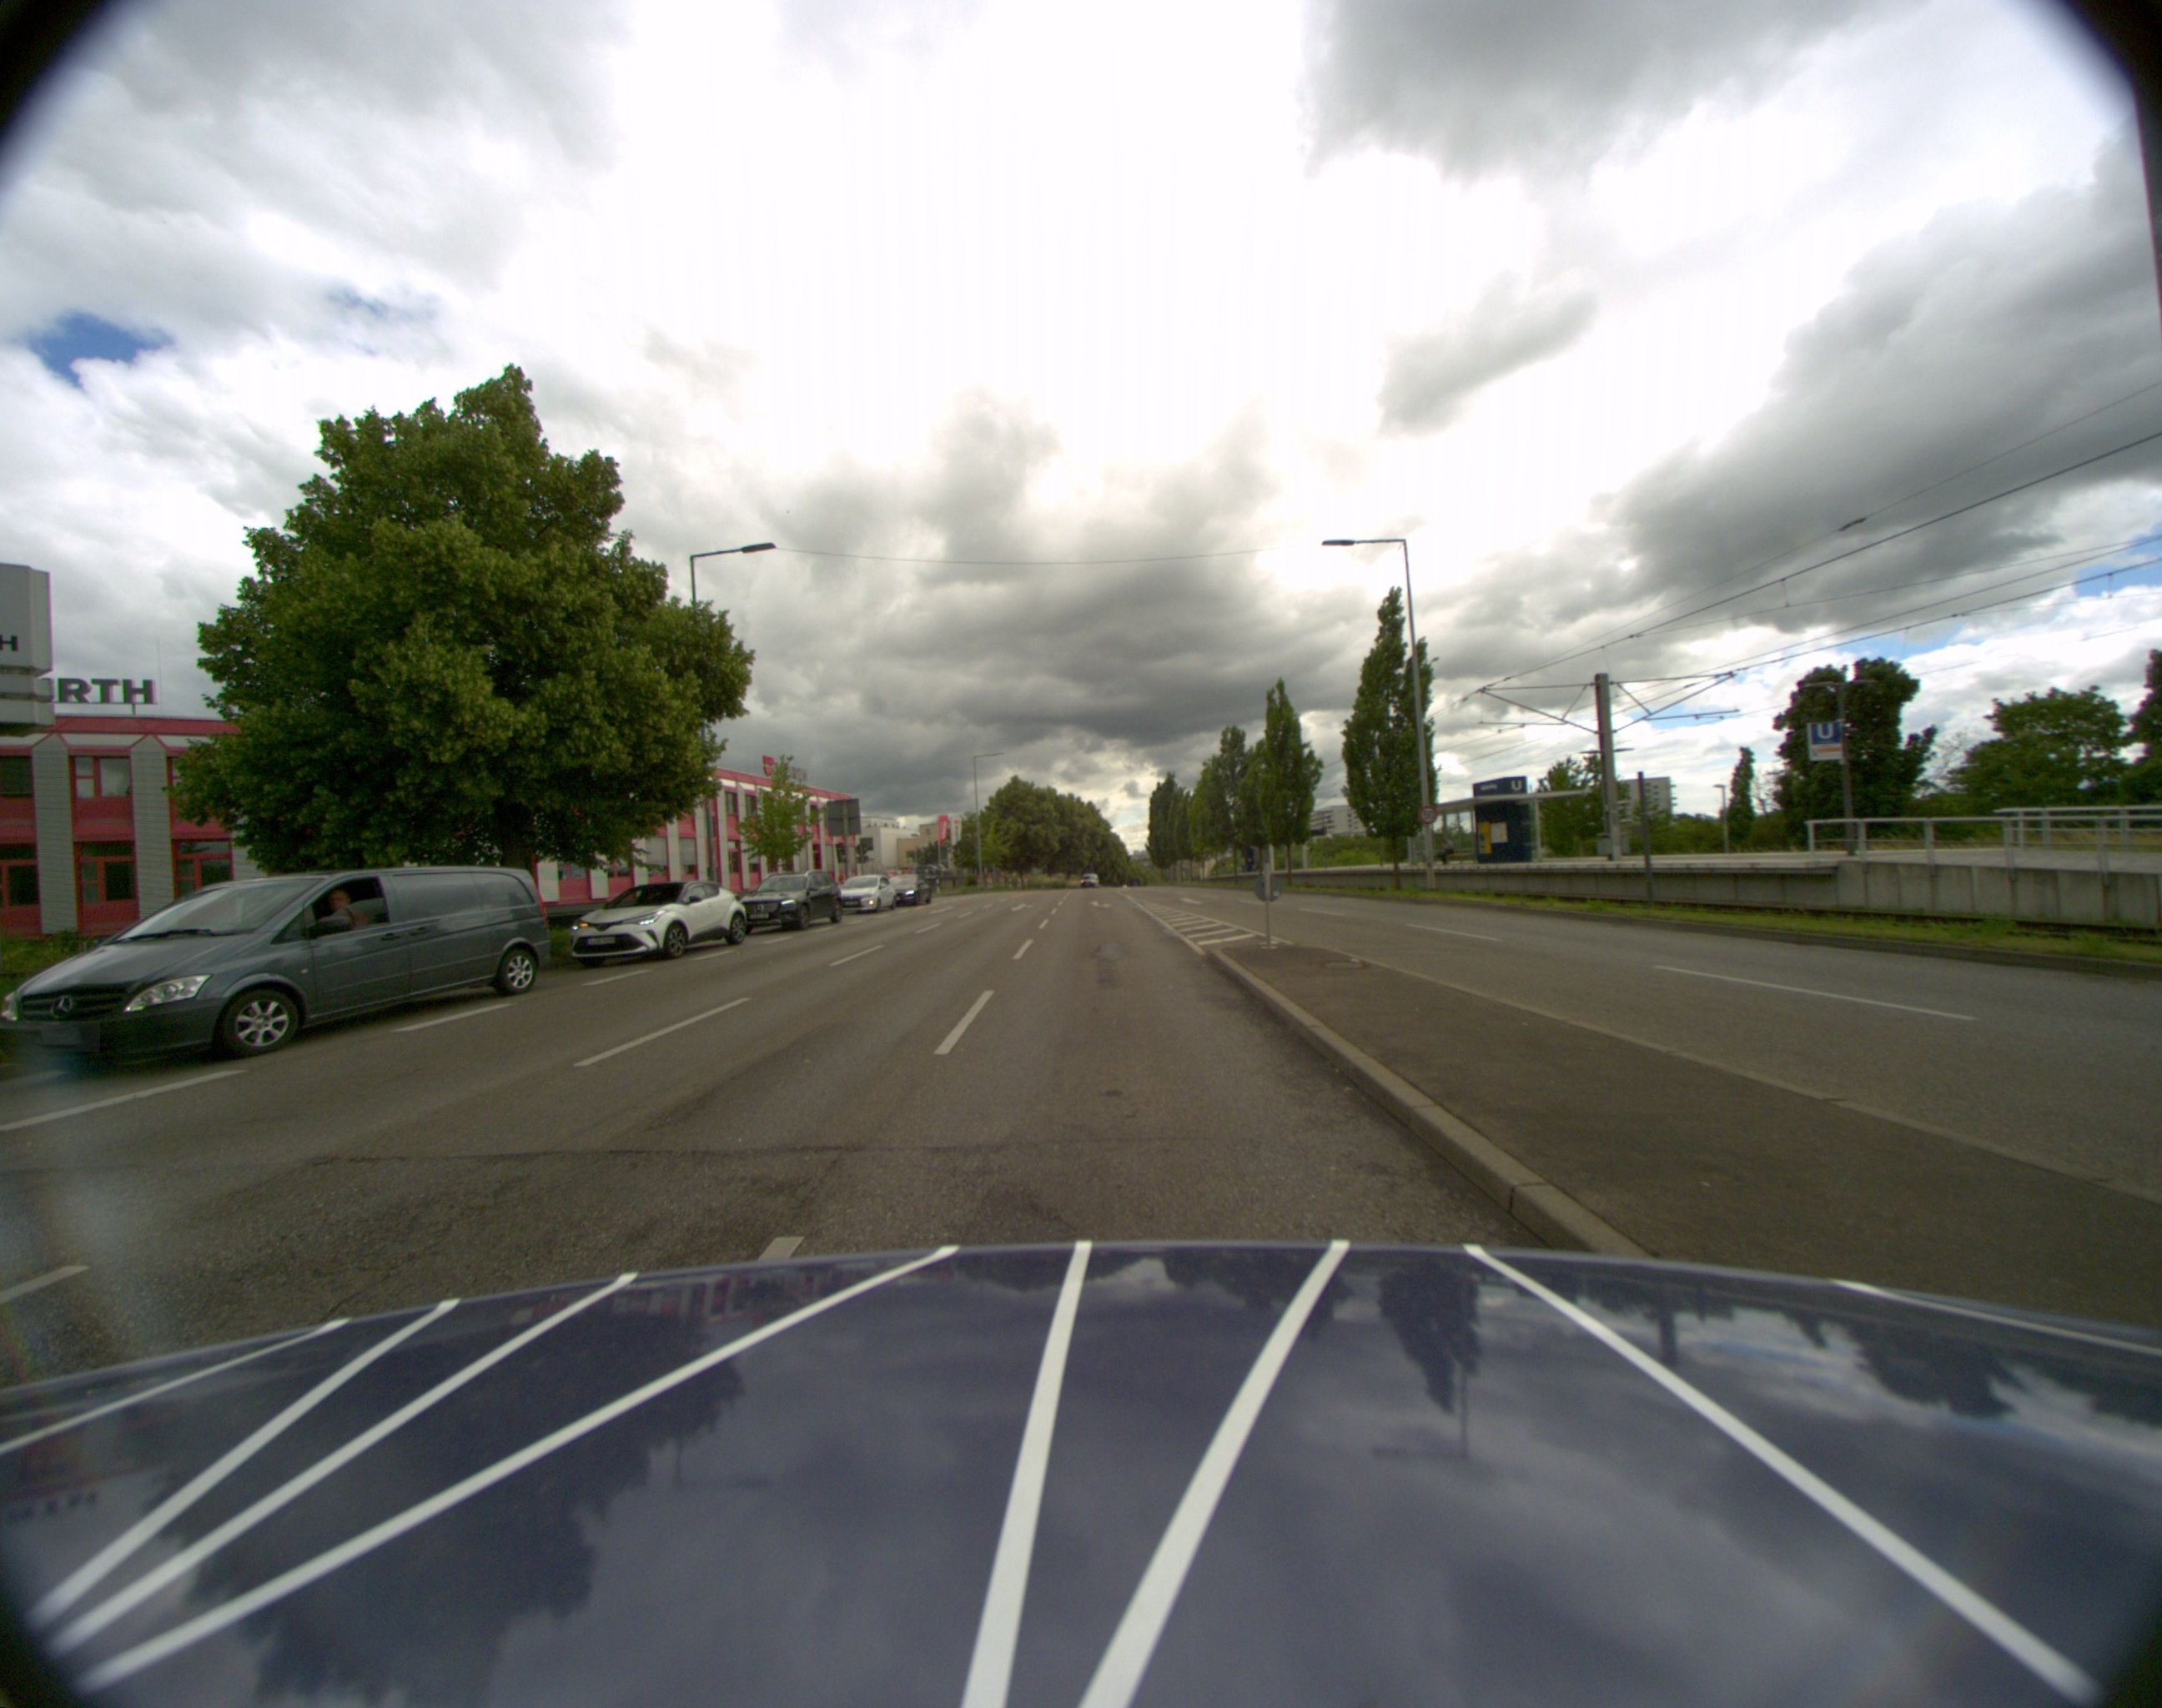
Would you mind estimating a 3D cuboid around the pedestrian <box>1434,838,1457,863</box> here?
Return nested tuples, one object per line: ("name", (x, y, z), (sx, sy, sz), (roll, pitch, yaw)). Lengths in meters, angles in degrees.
("pedestrian", (17.619, -0.173, 36.733), (0.663, 1.195, 0.782), (-2, 0, -7))

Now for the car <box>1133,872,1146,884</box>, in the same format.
("car", (9.429, 3.859, 122.000), (1.869, 1.674, 4.843), (-2, -3, 5))

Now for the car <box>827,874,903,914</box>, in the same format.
("car", (-8.474, 1.554, 30.105), (1.785, 1.434, 3.836), (-1, -2, 1))

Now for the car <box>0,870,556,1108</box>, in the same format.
("car", (-8.841, 1.225, 8.833), (1.921, 1.823, 4.722), (-5, 0, 2))

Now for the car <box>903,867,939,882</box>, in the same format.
("car", (-21.221, 2.688, 101.003), (4.248, 1.744, 1.784), (-2, 0, 2))

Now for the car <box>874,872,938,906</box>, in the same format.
("car", (-8.023, 1.590, 35.205), (1.785, 1.437, 4.530), (-1, -2, 1))

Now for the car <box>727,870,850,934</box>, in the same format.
("car", (-8.376, 1.326, 22.212), (1.785, 1.639, 4.427), (-1, -2, 1))

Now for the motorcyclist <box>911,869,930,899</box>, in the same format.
("motorcyclist", (-8.351, 1.572, 39.606), (0.750, 1.481, 0.933), (-4, -1, -3))

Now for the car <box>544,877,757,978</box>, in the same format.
("car", (-8.563, 1.379, 15.656), (1.785, 1.526, 4.305), (-5, 0, 0))

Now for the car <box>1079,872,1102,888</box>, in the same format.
("car", (1.194, 3.109, 92.803), (1.998, 1.791, 4.843), (-2, 0, 11))
